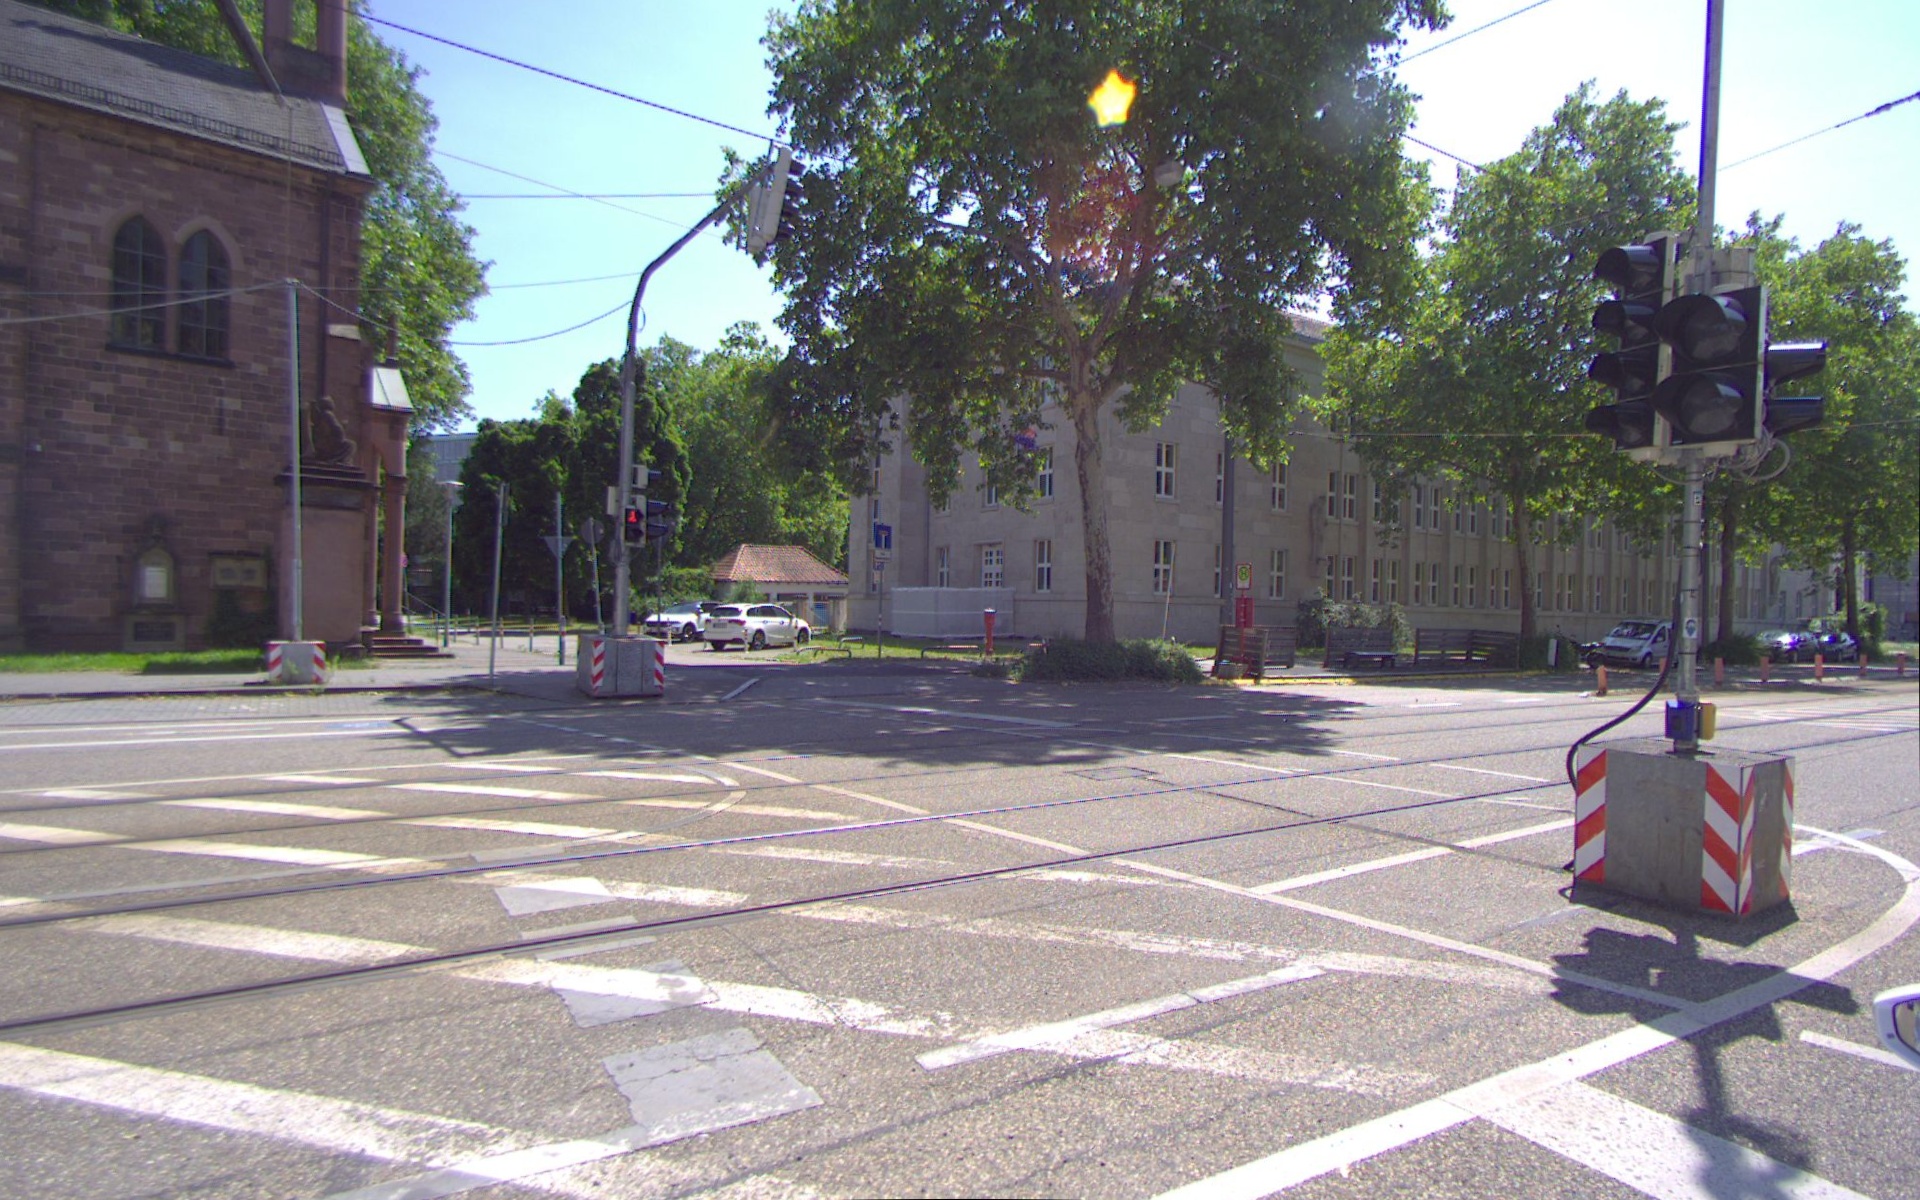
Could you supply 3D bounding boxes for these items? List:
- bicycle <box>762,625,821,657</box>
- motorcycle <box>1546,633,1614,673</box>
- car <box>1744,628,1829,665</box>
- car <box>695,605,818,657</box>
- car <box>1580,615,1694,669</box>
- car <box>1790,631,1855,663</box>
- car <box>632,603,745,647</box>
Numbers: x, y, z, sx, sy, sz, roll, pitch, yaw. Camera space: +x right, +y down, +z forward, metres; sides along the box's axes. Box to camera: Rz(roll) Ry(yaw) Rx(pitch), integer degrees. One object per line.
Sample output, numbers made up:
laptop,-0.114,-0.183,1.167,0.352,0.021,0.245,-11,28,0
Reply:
bicycle,-5.276,1.275,31.552,0.633,0.913,1.902,2,1,35
motorcycle,21.475,1.815,34.834,1.837,1.082,0.726,8,3,26
car,37.272,2.079,45.285,4.278,1.503,1.752,2,1,-34
car,-6.736,0.992,33.851,1.878,1.528,4.534,2,0,21
car,25.342,1.557,37.576,4.254,1.835,1.982,2,1,-32
car,41.842,2.261,48.696,4.285,1.443,1.575,2,1,-38
car,-10.388,0.911,38.784,1.878,1.528,4.534,2,0,21
